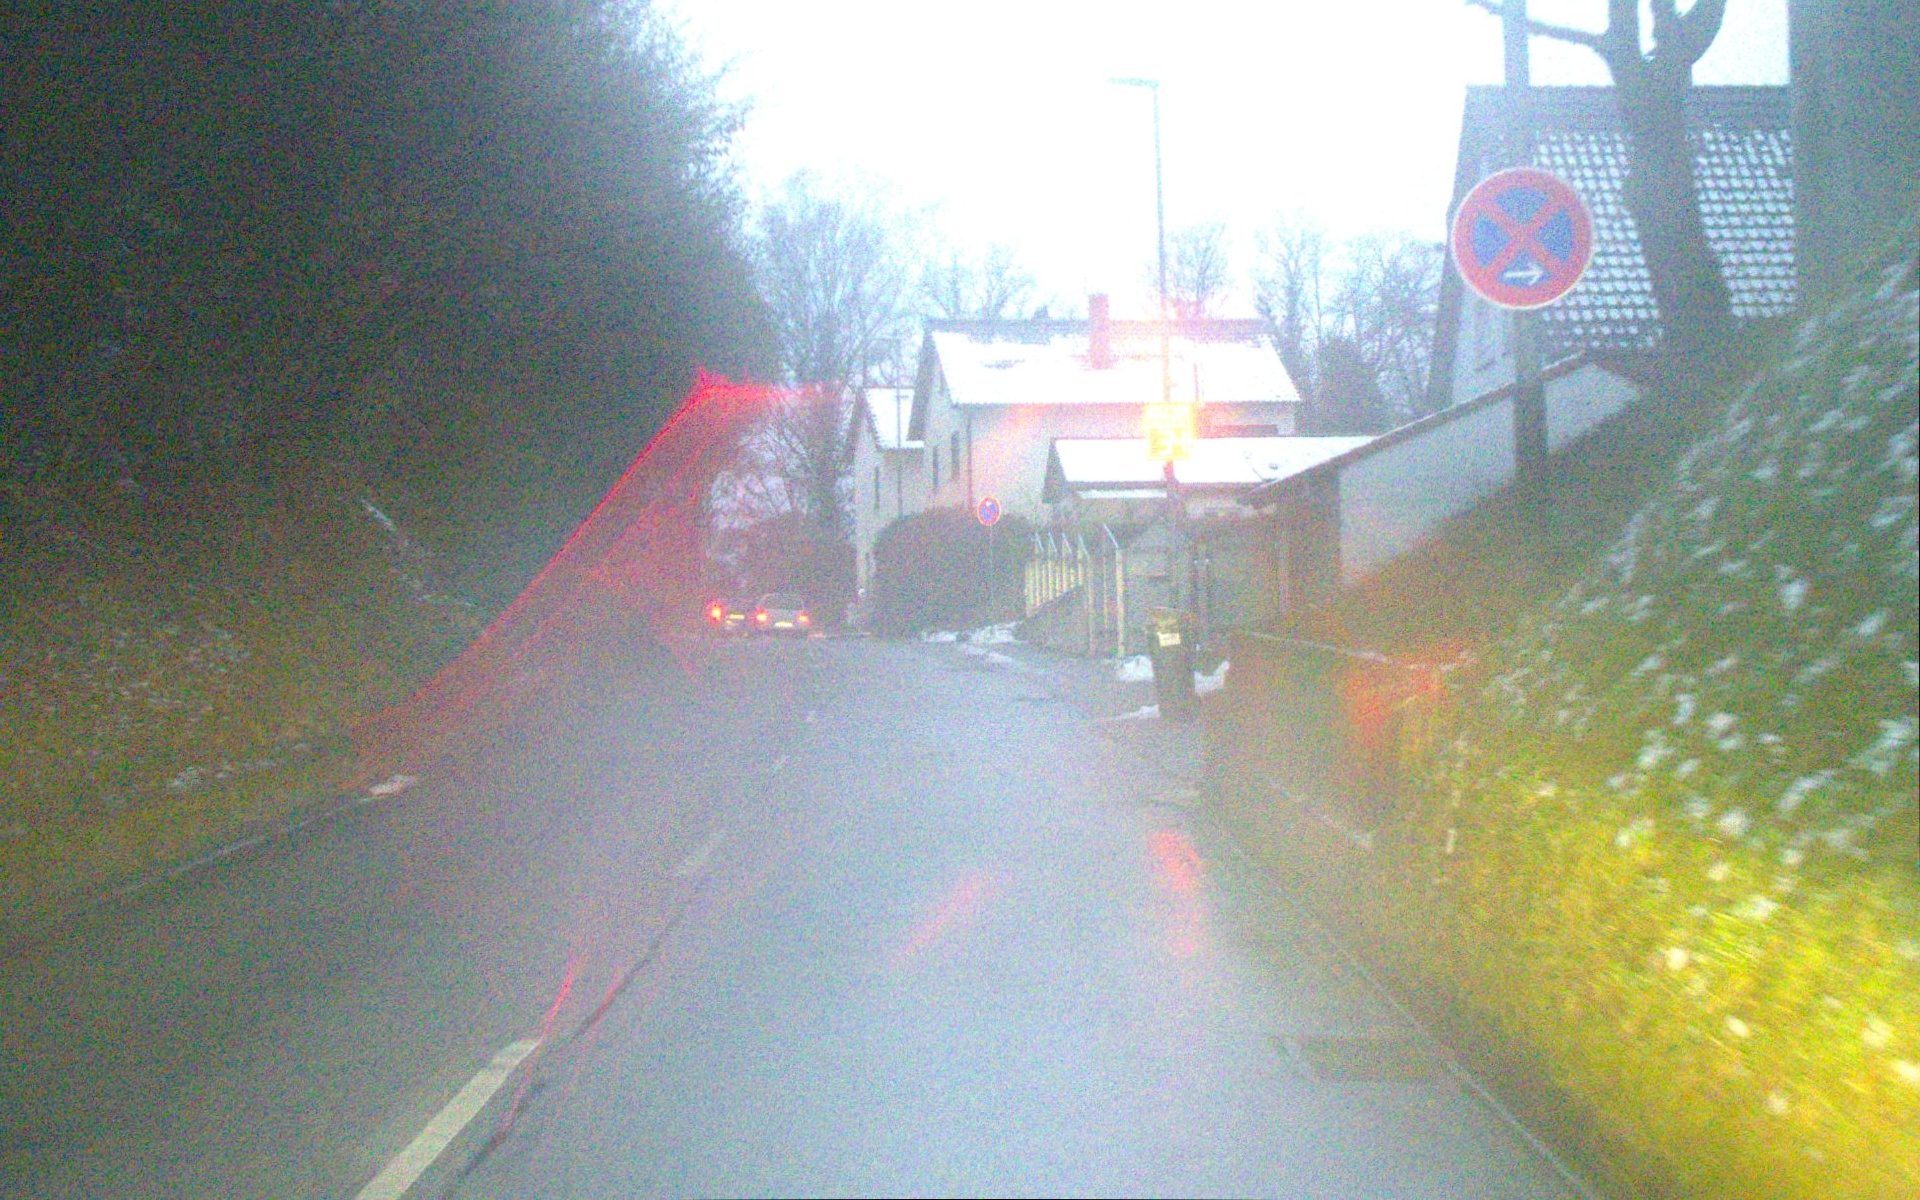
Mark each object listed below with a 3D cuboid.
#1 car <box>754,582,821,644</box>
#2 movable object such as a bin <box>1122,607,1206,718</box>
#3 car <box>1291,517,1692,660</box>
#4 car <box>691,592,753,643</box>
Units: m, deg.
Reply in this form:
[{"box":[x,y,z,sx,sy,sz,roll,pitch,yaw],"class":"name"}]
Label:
[{"box":[-5.267,0.409,105.335,1.805,1.732,4.000,2,-2,0],"class":"car"},{"box":[1.920,0.592,32.241,0.685,1.000,0.856,-2,-2,8],"class":"movable object such as a bin"},{"box":[5.548,-0.101,36.272,3.987,1.262,1.695,-3,-2,4],"class":"car"},{"box":[-8.167,0.619,118.097,1.805,1.612,4.000,2,-2,0],"class":"car"}]
